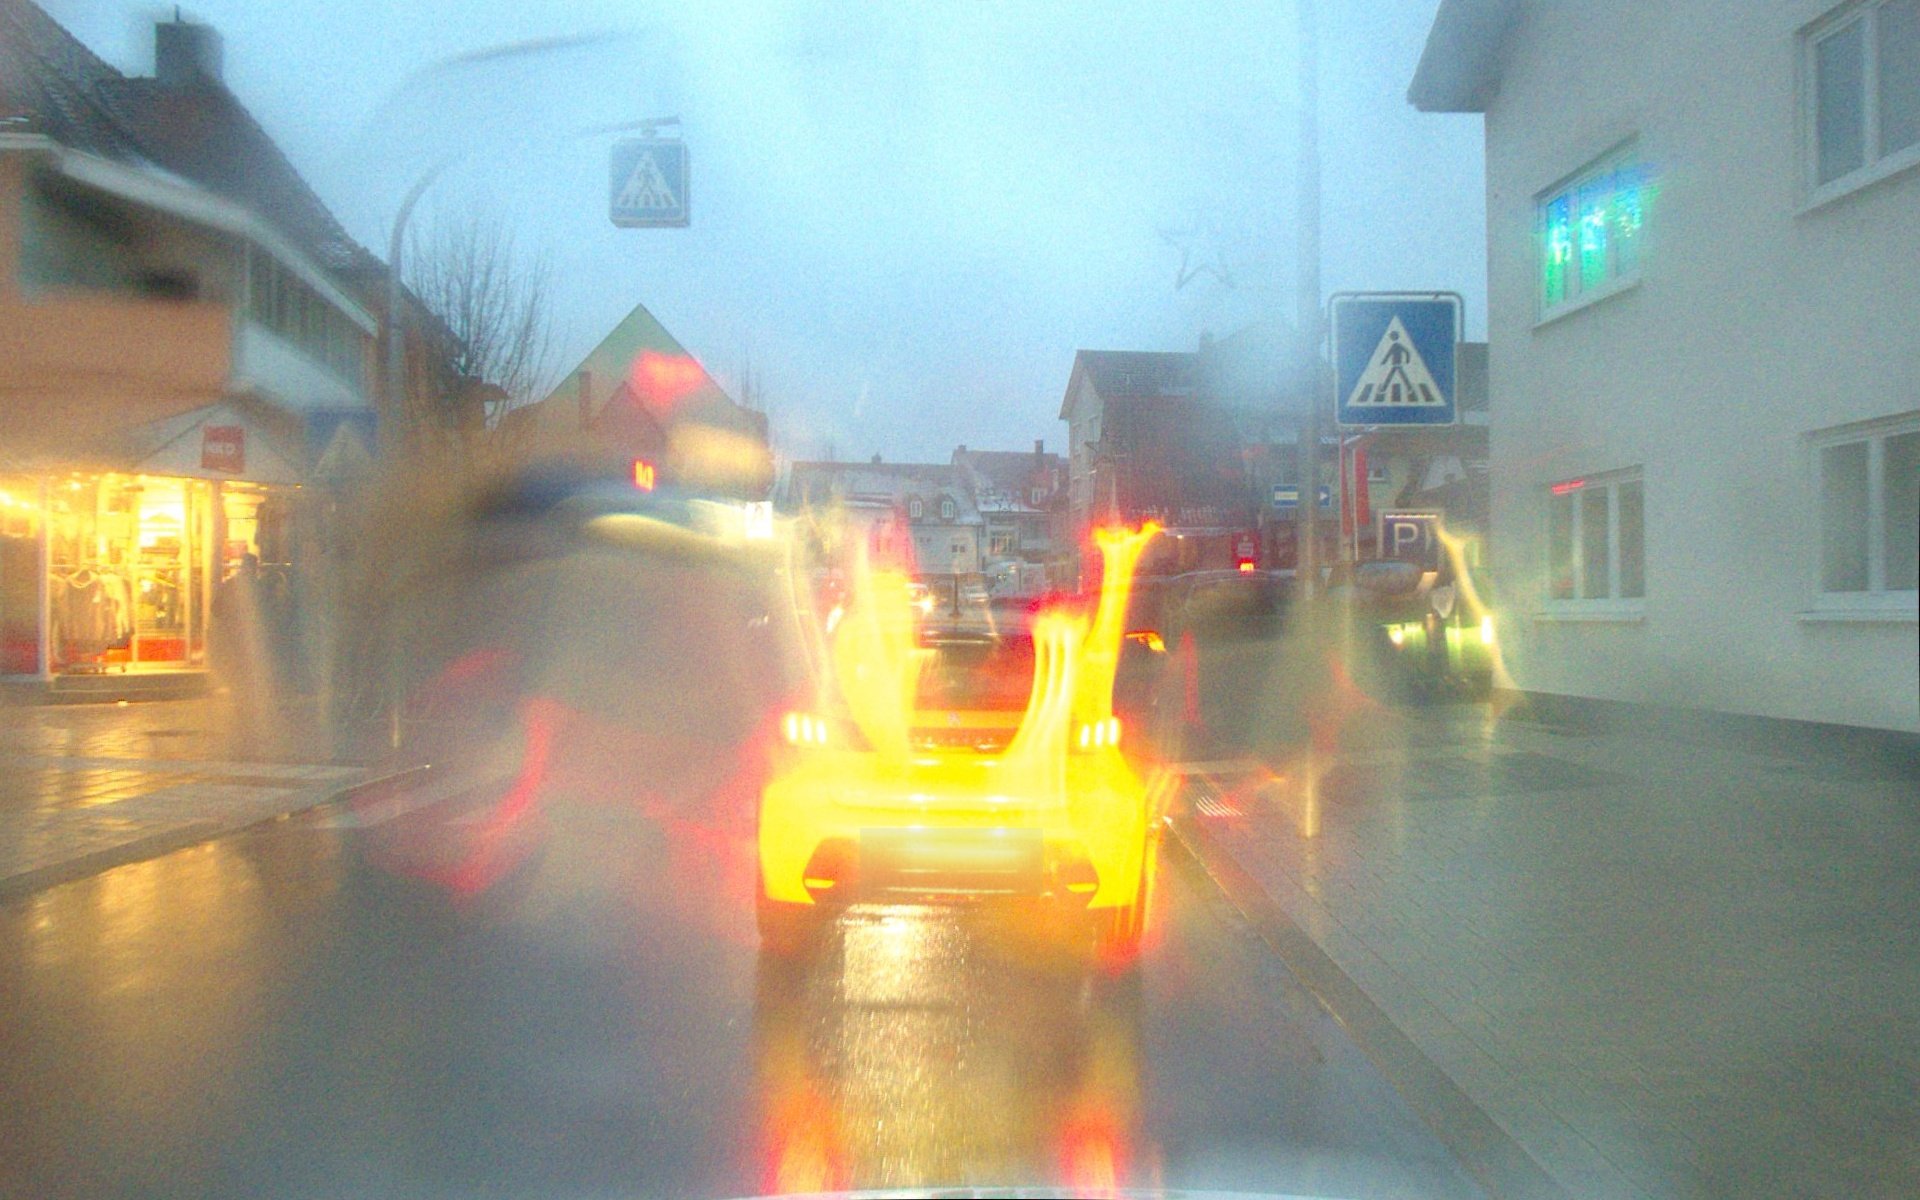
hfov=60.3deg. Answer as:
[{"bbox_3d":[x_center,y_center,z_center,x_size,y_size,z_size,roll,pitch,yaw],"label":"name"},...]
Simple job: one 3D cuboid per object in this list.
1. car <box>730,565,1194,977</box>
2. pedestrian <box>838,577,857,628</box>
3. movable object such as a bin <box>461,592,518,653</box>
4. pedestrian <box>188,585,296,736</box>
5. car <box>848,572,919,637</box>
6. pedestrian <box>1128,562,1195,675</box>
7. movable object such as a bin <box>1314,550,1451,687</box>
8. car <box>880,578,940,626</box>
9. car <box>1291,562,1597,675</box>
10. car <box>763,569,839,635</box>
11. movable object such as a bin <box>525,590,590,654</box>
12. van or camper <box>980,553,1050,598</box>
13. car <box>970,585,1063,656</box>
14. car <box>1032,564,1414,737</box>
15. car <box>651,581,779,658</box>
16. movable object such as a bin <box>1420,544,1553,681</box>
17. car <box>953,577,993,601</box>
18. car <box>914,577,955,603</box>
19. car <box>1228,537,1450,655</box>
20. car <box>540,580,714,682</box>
[{"bbox_3d":[0.071,0.654,8.422,1.777,1.560,4.001,1,0,2],"label":"car"},{"bbox_3d":[-3.587,0.082,52.775,0.562,1.613,0.530,0,1,-2],"label":"pedestrian"},{"bbox_3d":[-10.702,0.504,37.647,1.129,1.378,0.850,0,0,-10],"label":"movable object such as a bin"},{"bbox_3d":[-8.270,0.676,19.098,0.810,1.687,1.096,1,0,-7],"label":"pedestrian"},{"bbox_3d":[-2.299,0.091,50.827,1.953,1.735,4.966,2,2,-1],"label":"car"},{"bbox_3d":[3.497,0.318,28.826,0.947,1.922,1.005,1,0,-5],"label":"pedestrian"},{"bbox_3d":[5.451,0.227,21.442,1.365,1.672,1.261,-2,0,-2],"label":"movable object such as a bin"},{"bbox_3d":[-2.107,0.038,68.256,1.915,1.573,4.409,5,3,-8],"label":"car"},{"bbox_3d":[6.908,0.274,23.939,3.903,1.512,1.913,-1,-1,3],"label":"car"},{"bbox_3d":[-4.663,0.015,49.062,2.044,1.823,5.021,1,1,-3],"label":"car"},{"bbox_3d":[-9.200,0.505,37.839,1.315,1.377,0.887,-3,0,-9],"label":"movable object such as a bin"},{"bbox_3d":[3.978,-1.797,121.810,2.614,3.100,6.690,-4,2,-22],"label":"van or camper"},{"bbox_3d":[1.322,0.470,40.530,1.953,1.616,3.998,1,0,-2],"label":"car"},{"bbox_3d":[2.897,0.490,17.874,3.961,1.653,1.971,1,0,-40],"label":"car"},{"bbox_3d":[-5.226,0.376,35.881,1.952,1.549,4.978,0,0,1],"label":"car"},{"bbox_3d":[6.786,0.151,21.402,1.259,1.672,1.185,-3,1,-2],"label":"movable object such as a bin"},{"bbox_3d":[0.924,-0.811,121.055,1.960,1.639,4.159,-2,0,-13],"label":"car"},{"bbox_3d":[-1.882,-0.777,120.713,1.961,1.795,4.332,-2,1,-16],"label":"car"},{"bbox_3d":[7.241,-0.074,31.997,4.003,2.085,2.002,-2,0,9],"label":"car"},{"bbox_3d":[-5.653,0.473,28.673,1.952,1.585,4.621,1,0,1],"label":"car"}]
